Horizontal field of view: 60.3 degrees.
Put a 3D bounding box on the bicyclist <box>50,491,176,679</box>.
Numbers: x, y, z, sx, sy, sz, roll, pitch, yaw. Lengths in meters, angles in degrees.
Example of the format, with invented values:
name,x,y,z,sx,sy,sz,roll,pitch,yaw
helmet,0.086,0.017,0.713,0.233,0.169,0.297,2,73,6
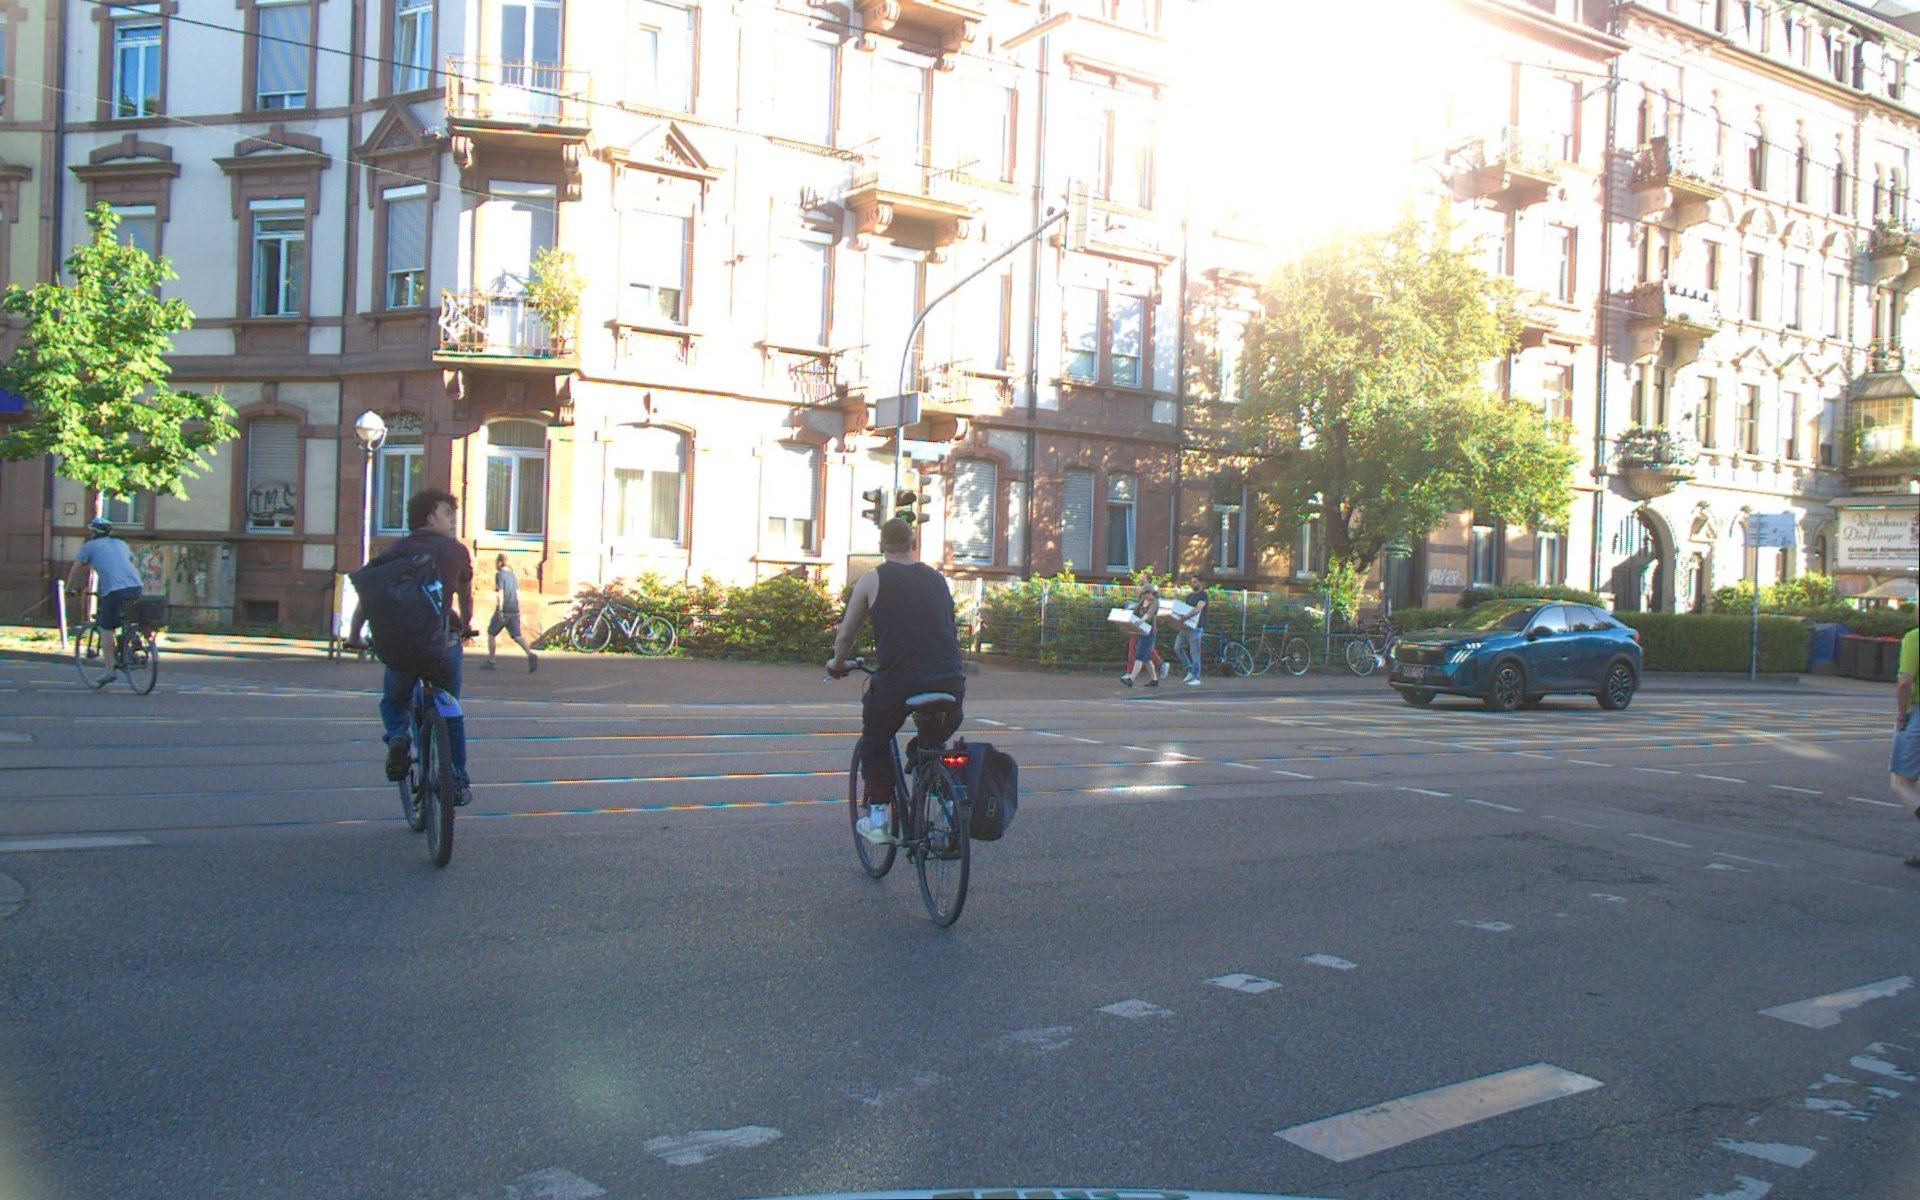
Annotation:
name,x,y,z,sx,sy,sz,roll,pitch,yaw
bicyclist,-9.073,-0.169,17.724,0.925,1.946,0.794,2,0,34

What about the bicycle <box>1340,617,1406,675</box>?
name,x,y,z,sx,sy,sz,roll,pitch,yaw
bicycle,7.866,0.875,31.522,1.216,1.056,0.439,2,1,-29

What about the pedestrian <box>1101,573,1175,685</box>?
name,x,y,z,sx,sy,sz,roll,pitch,yaw
pedestrian,2.810,0.449,26.218,0.881,1.693,0.709,2,3,-16

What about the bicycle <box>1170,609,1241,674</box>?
name,x,y,z,sx,sy,sz,roll,pitch,yaw
bicycle,4.395,0.740,29.592,1.215,1.126,0.439,2,1,-28

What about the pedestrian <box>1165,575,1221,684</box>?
name,x,y,z,sx,sy,sz,roll,pitch,yaw
pedestrian,3.818,0.474,27.164,0.625,1.745,0.660,2,0,-20

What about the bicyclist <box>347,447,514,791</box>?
name,x,y,z,sx,sy,sz,roll,pitch,yaw
bicyclist,-2.659,0.092,8.268,0.696,1.601,0.951,2,0,-20

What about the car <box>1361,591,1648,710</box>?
name,x,y,z,sx,sy,sz,roll,pitch,yaw
car,8.437,0.774,25.511,4.355,1.679,1.926,2,-1,-33

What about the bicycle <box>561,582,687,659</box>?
name,x,y,z,sx,sy,sz,roll,pitch,yaw
bicycle,-5.538,0.331,27.299,1.920,1.126,0.443,4,0,0

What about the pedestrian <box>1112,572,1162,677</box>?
name,x,y,z,sx,sy,sz,roll,pitch,yaw
pedestrian,2.977,0.408,27.876,0.625,1.745,0.518,2,0,-20

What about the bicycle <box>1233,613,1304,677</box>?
name,x,y,z,sx,sy,sz,roll,pitch,yaw
bicycle,5.642,0.822,30.234,1.215,1.126,0.439,2,1,-28

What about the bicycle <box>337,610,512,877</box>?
name,x,y,z,sx,sy,sz,roll,pitch,yaw
bicycle,-2.742,0.654,8.364,0.706,1.126,1.955,2,0,-20

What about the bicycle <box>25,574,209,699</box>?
name,x,y,z,sx,sy,sz,roll,pitch,yaw
bicycle,-9.026,0.368,17.683,2.182,1.205,0.809,2,0,36

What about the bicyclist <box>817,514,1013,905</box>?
name,x,y,z,sx,sy,sz,roll,pitch,yaw
bicyclist,-0.232,0.476,7.698,0.675,1.685,0.985,1,-1,-15

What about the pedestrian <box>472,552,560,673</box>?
name,x,y,z,sx,sy,sz,roll,pitch,yaw
pedestrian,-6.404,0.166,23.873,0.884,1.663,0.725,4,2,25

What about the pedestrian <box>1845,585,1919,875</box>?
name,x,y,z,sx,sy,sz,roll,pitch,yaw
pedestrian,6.208,0.817,10.542,0.629,1.757,0.889,5,2,11
